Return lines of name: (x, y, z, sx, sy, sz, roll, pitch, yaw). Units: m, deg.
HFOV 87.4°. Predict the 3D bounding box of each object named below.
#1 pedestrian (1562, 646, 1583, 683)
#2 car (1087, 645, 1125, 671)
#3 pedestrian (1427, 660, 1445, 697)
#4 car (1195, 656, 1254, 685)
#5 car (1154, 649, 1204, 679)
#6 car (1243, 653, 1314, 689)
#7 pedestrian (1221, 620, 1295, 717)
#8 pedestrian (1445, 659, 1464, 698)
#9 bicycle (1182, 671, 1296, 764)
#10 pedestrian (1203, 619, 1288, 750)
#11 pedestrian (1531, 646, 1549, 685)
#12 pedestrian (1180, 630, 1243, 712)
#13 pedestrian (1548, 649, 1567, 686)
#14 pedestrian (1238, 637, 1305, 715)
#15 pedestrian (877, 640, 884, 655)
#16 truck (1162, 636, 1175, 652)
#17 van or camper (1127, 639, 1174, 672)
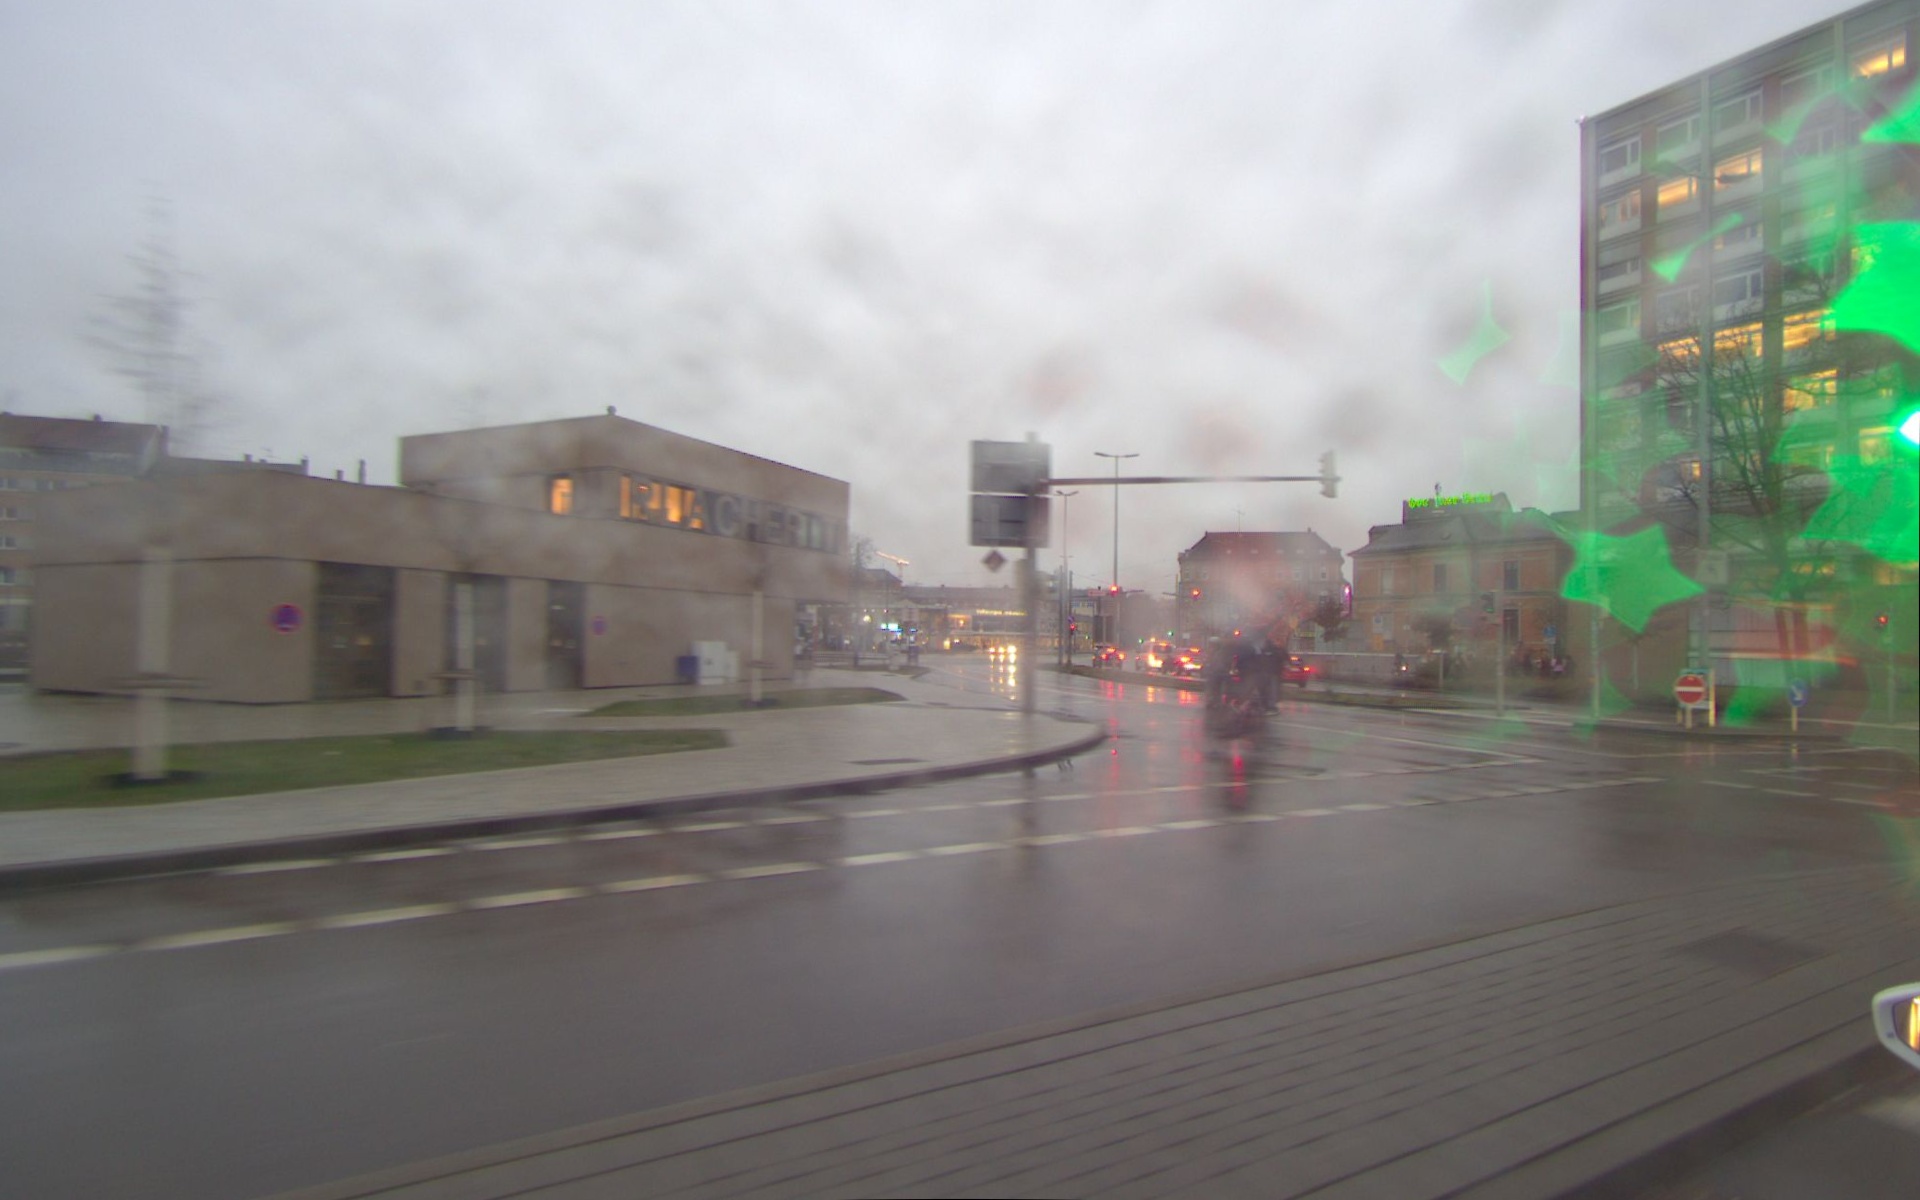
pedestrian: (28.688, 3.022, 47.078, 0.706, 1.710, 0.760, 0, -2, 21)
car: (10.506, 4.160, 72.653, 1.855, 1.795, 3.999, 2, -3, -4)
pedestrian: (26.154, 4.281, 55.163, 0.794, 1.956, 0.760, 2, 0, 22)
car: (14.391, 3.809, 54.938, 1.634, 1.422, 4.116, 3, -3, -8)
car: (13.487, 3.931, 62.101, 1.757, 1.621, 4.539, 4, -3, -5)
car: (15.323, 3.383, 48.506, 1.676, 1.501, 3.866, 4, -2, -9)
pedestrian: (6.618, 1.512, 22.358, 1.194, 2.077, 1.032, 2, 0, -13)
pedestrian: (27.066, 4.280, 54.966, 0.794, 2.040, 0.760, 2, 0, 22)
bicycle: (3.910, 1.601, 13.990, 1.859, 1.191, 0.616, 3, -5, -42)
pedestrian: (3.998, 1.170, 14.079, 0.975, 1.756, 0.709, 2, -4, -42)
pedestrian: (27.386, 3.088, 47.417, 0.574, 1.804, 0.769, -2, -3, 22)
pedestrian: (6.093, 1.697, 24.337, 1.028, 1.883, 1.057, 2, 0, -42)
pedestrian: (27.997, 3.165, 47.059, 0.657, 1.710, 0.611, -2, -1, 22)
pedestrian: (8.015, 1.931, 25.872, 1.024, 1.882, 1.223, 2, 0, -34)
pedestrian: (-9.457, 5.655, 119.869, 0.819, 1.844, 0.695, 0, -2, -8)
truck: (37.359, 7.889, 179.744, 1.960, 2.726, 5.119, 0, -3, 14)
van or camper: (13.391, 3.896, 70.781, 2.166, 2.137, 4.988, 2, -3, -2)
